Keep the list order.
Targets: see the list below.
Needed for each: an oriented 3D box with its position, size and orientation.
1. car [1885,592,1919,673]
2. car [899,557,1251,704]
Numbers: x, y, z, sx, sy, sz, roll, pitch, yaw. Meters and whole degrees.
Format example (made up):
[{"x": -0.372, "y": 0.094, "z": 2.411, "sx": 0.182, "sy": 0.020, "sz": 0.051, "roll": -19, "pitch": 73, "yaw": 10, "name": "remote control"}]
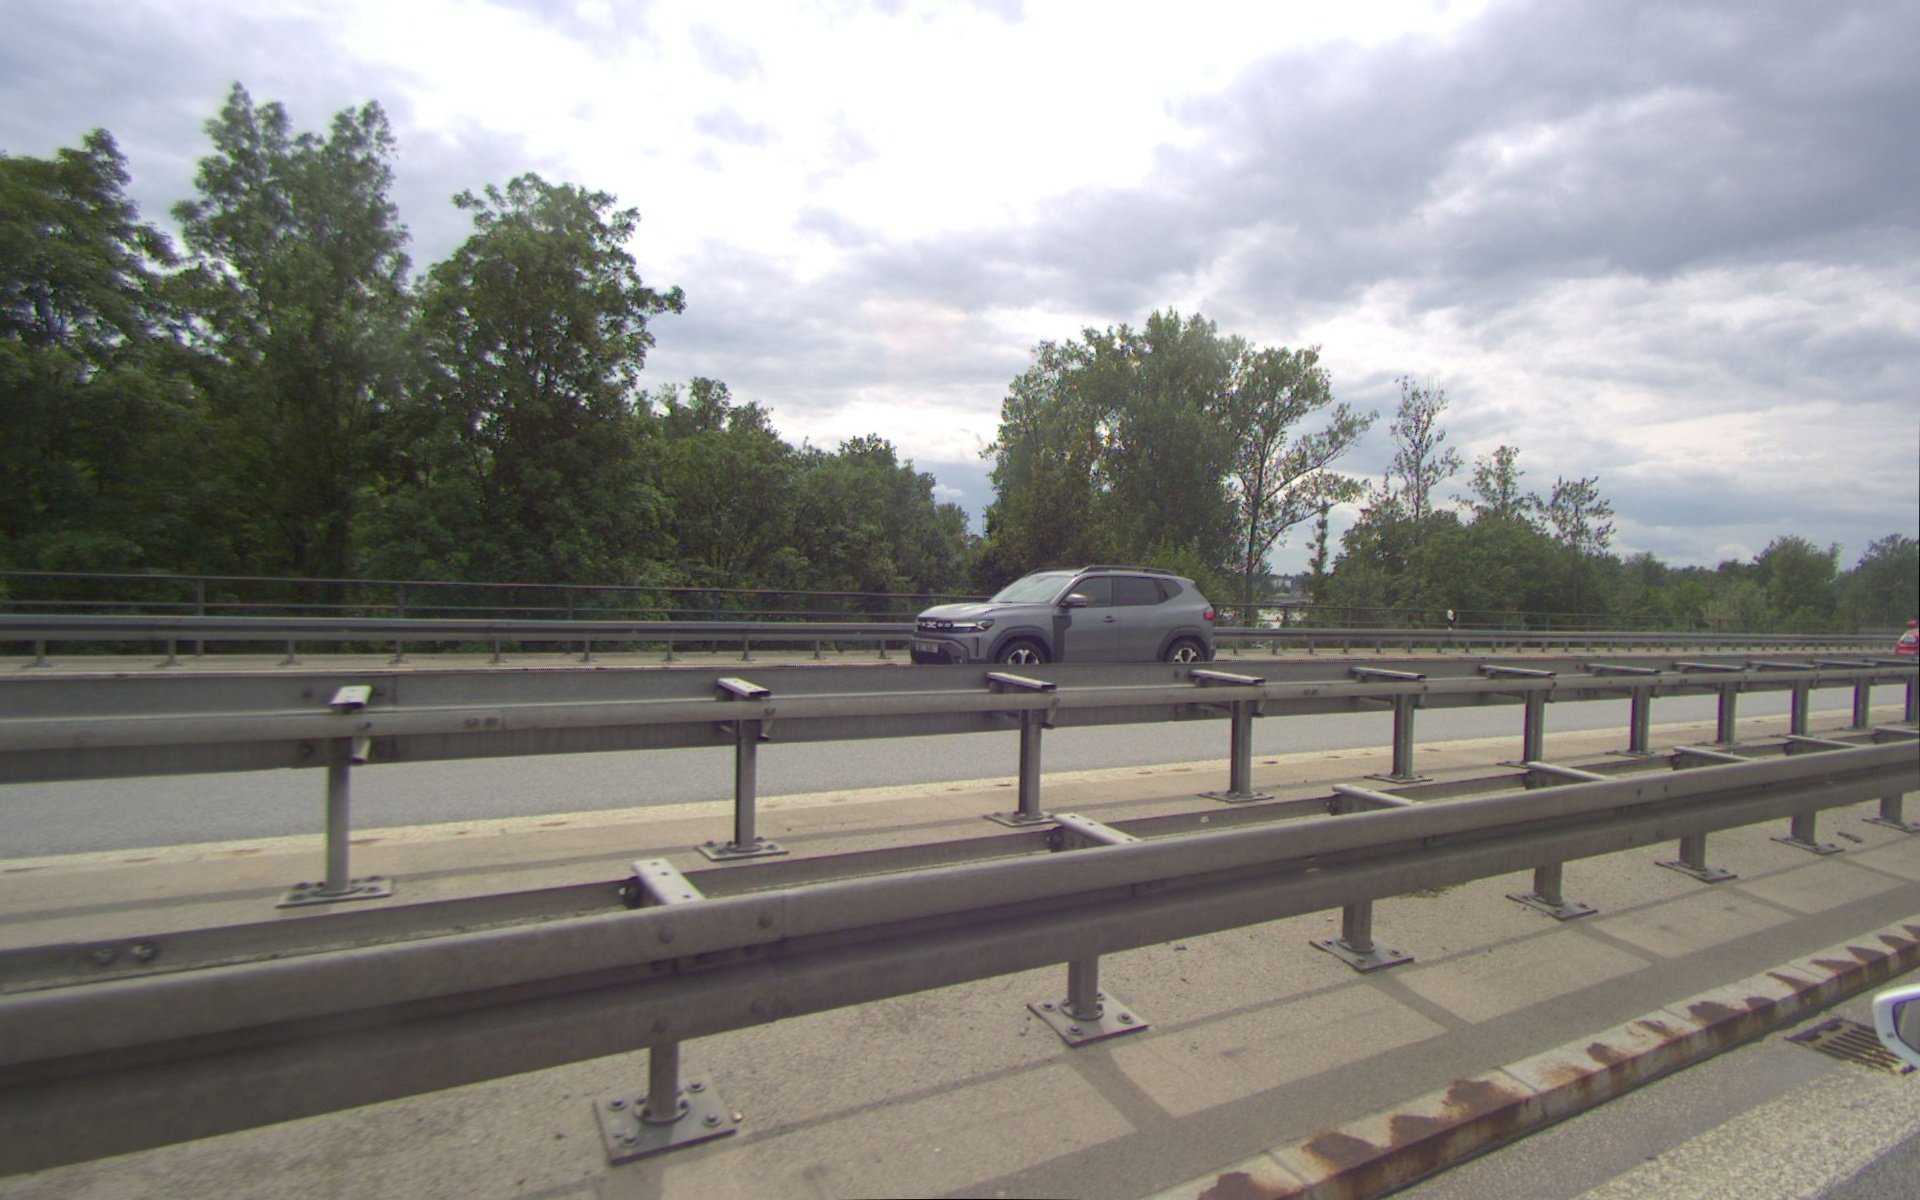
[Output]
[{"x": 21.895, "y": 0.730, "z": 21.559, "sx": 4.516, "sy": 1.662, "sz": 1.803, "roll": 1, "pitch": 1, "yaw": -31, "name": "car"}, {"x": 1.594, "y": 0.366, "z": 13.276, "sx": 4.516, "sy": 1.662, "sz": 1.701, "roll": 1, "pitch": 1, "yaw": -31, "name": "car"}]
